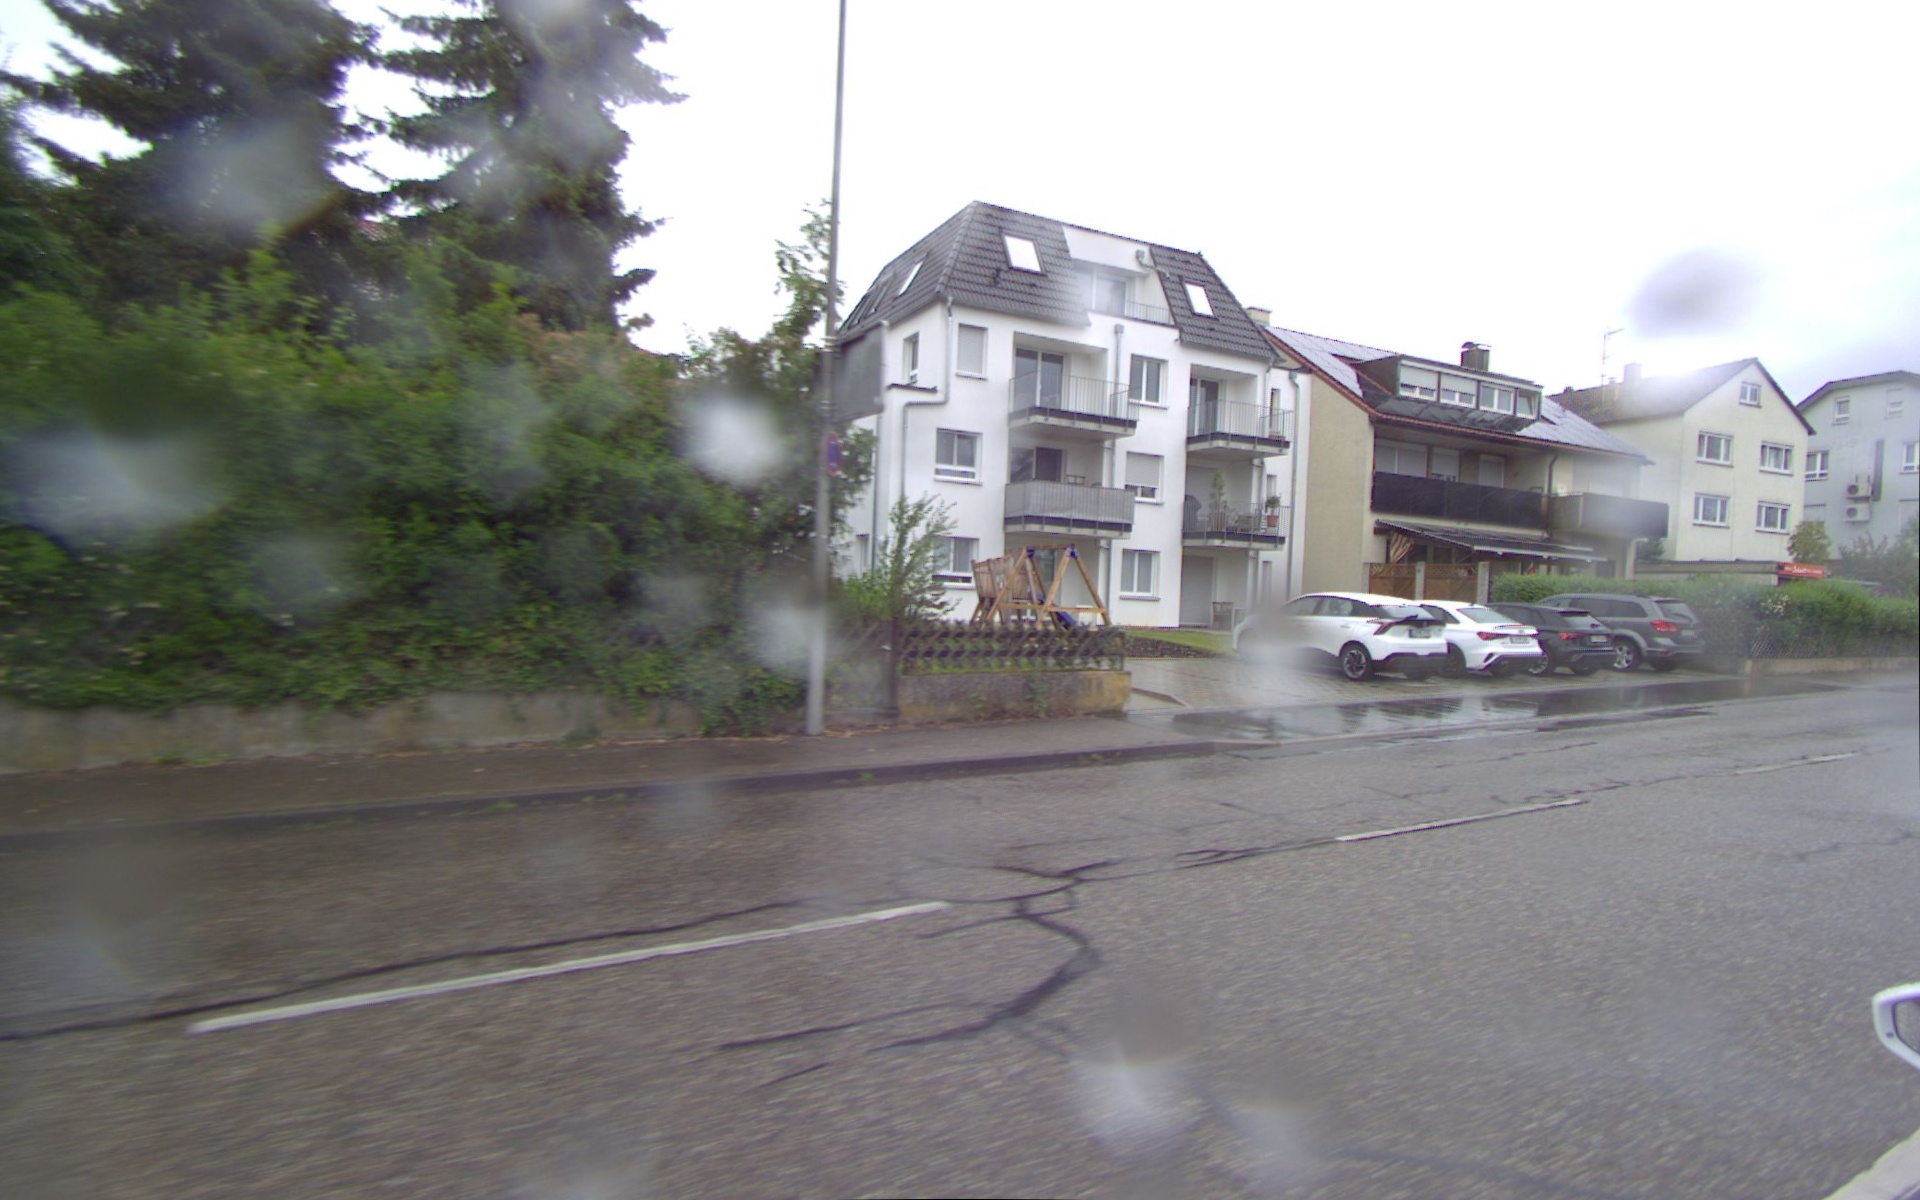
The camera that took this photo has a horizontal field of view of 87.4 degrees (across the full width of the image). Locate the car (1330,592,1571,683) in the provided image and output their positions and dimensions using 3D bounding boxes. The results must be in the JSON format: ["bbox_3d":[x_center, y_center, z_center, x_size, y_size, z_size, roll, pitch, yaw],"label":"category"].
[{"bbox_3d":[9.659,0.679,20.125,1.944,1.454,3.975,1,2,-24],"label":"car"}]

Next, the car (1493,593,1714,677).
[{"bbox_3d":[14.627,0.747,23.091,1.782,1.709,3.979,2,0,-22],"label":"car"}]

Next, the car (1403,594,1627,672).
[{"bbox_3d":[11.694,0.644,21.463,1.682,1.465,3.977,2,0,-23],"label":"car"}]

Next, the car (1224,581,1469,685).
[{"bbox_3d":[7.167,0.546,19.092,1.931,1.606,4.084,2,2,-26],"label":"car"}]
